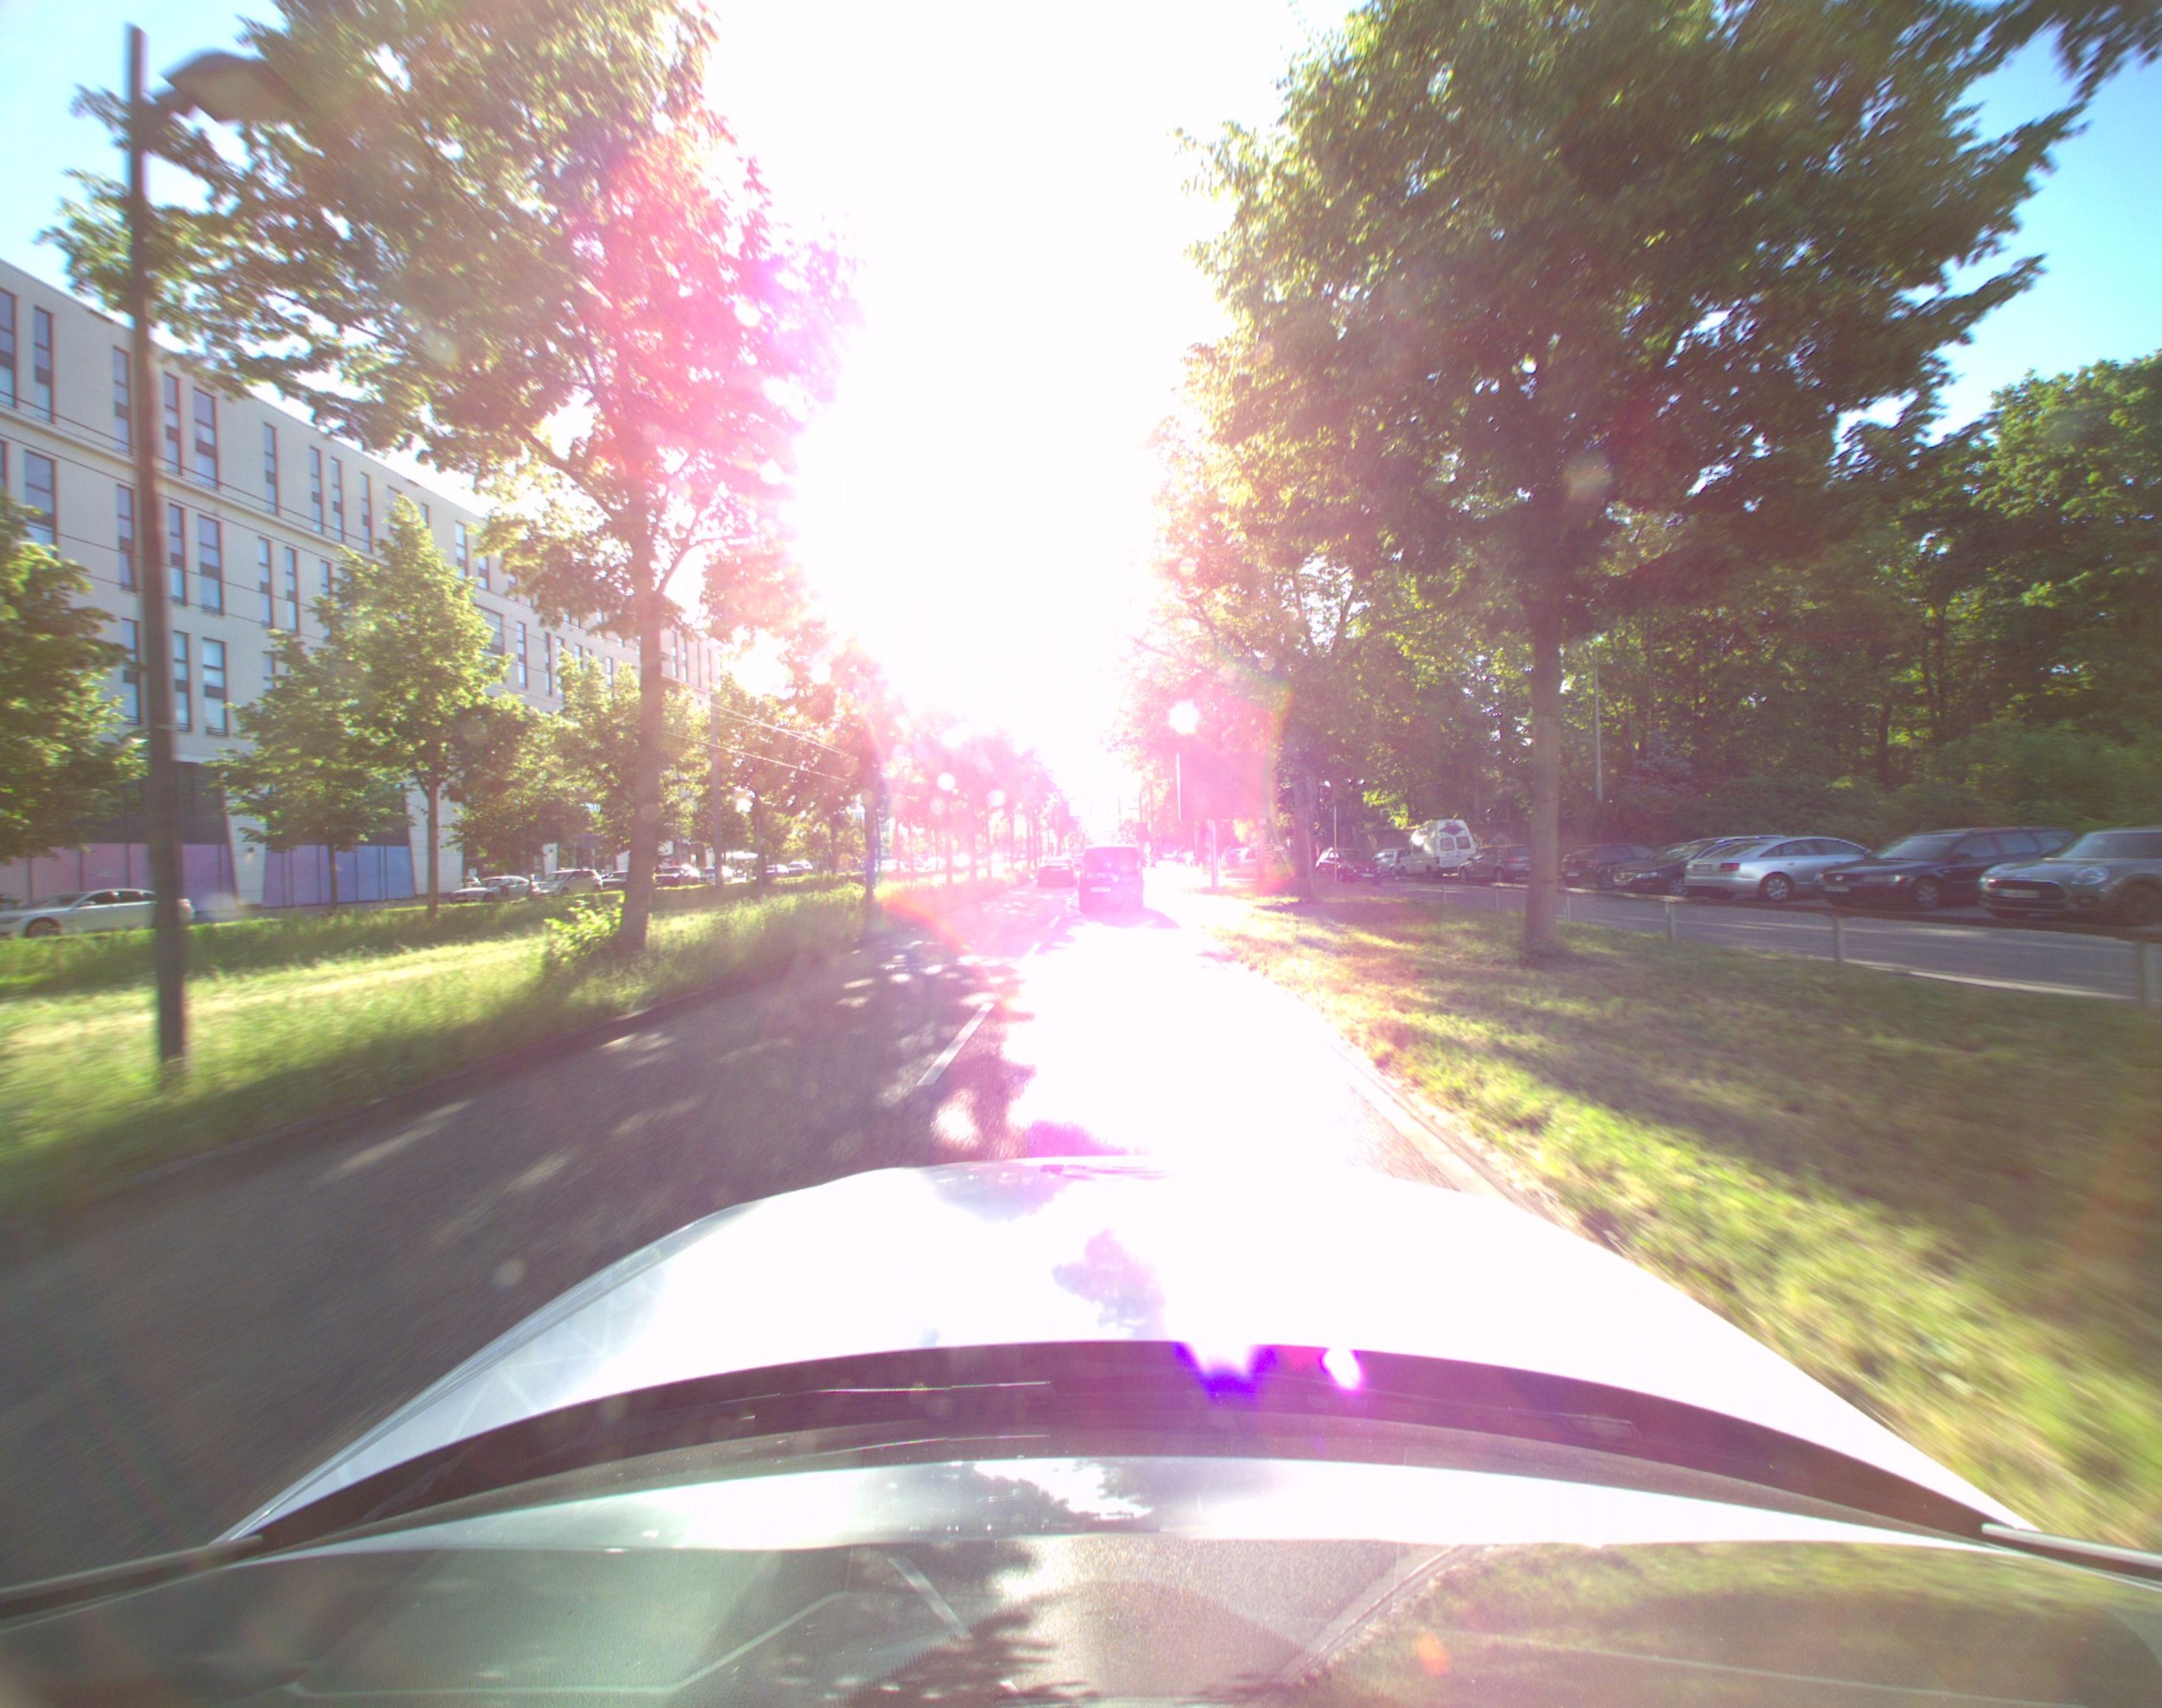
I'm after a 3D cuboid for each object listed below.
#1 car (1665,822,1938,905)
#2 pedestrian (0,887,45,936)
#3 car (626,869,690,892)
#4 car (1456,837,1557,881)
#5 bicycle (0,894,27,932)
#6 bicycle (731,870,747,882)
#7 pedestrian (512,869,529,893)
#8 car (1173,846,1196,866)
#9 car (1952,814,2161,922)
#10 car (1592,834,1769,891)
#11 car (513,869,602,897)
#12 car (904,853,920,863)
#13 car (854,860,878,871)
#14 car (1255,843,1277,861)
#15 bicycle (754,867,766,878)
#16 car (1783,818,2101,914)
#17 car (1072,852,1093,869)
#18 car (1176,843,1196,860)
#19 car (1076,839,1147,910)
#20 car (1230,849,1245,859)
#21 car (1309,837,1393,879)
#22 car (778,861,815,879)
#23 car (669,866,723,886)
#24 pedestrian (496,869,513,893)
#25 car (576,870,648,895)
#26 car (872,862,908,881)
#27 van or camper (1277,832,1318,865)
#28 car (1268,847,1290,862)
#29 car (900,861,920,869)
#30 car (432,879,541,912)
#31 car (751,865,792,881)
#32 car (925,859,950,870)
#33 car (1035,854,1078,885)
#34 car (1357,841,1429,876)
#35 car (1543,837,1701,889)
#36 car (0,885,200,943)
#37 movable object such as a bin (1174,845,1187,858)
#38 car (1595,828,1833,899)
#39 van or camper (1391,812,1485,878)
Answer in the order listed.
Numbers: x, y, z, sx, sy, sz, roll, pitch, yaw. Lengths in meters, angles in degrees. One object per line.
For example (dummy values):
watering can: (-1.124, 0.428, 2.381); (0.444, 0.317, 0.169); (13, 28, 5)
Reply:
car: (16.505, 0.211, 18.879); (4.361, 1.411, 2.002); (-6, 0, 4)
pedestrian: (-36.873, 1.994, 28.365); (0.633, 1.651, 0.720); (0, -1, -1)
car: (-29.710, 1.828, 57.384); (1.987, 1.441, 4.935); (0, 0, 0)
car: (16.898, 0.210, 32.569); (1.986, 1.574, 4.001); (-3, -1, 2)
bicycle: (-37.274, 2.025, 27.755); (0.596, 1.281, 1.608); (0, -1, 0)
bicycle: (-35.465, 2.262, 84.520); (0.731, 1.198, 2.241); (0, -1, 1)
pedestrian: (-38.671, 1.839, 56.201); (0.633, 1.651, 0.720); (0, -1, -1)
car: (8.632, 0.189, 68.276); (1.784, 1.560, 4.026); (2, 0, 5)
car: (16.690, 0.143, 12.781); (4.179, 1.498, 1.781); (-3, 0, -1)
car: (17.668, 0.255, 24.121); (3.973, 1.392, 1.620); (-3, -1, 0)
car: (-29.463, 1.618, 46.016); (1.986, 1.441, 4.457); (0, 0, 2)
car: (-32.586, 0.809, 157.001); (1.985, 2.014, 4.567); (0, 0, 3)
car: (-28.105, 1.502, 106.599); (1.872, 1.435, 4.612); (0, 0, 1)
car: (21.946, -0.229, 96.865); (2.076, 2.013, 4.952); (-1, 0, 7)
bicycle: (-35.299, 2.039, 89.548); (0.586, 1.252, 1.840); (0, -1, 2)
car: (16.736, 0.204, 15.987); (4.317, 1.478, 1.905); (-4, 1, -2)
car: (0.171, 0.604, 80.484); (1.986, 1.618, 4.002); (0, 0, 2)
car: (13.479, -0.295, 104.859); (2.180, 2.014, 5.825); (0, 0, 3)
car: (0.777, 0.555, 23.139); (1.803, 1.838, 3.998); (0, -1, -1)
car: (26.203, 0.003, 136.459); (1.985, 1.640, 4.003); (0, 0, 3)
car: (11.101, 0.171, 33.789); (1.990, 1.640, 3.994); (0, 0, -4)
car: (-28.441, 1.608, 81.568); (1.987, 1.772, 4.775); (0, 0, 0)
car: (-29.444, 1.638, 62.411); (1.987, 1.441, 4.455); (0, 0, 0)
pedestrian: (-39.493, 1.837, 55.776); (0.634, 1.651, 0.719); (0, -1, -6)
car: (-29.583, 1.783, 51.574); (1.987, 1.441, 4.455); (0, 0, 0)
car: (-17.509, 1.591, 74.906); (1.986, 1.686, 5.112); (0, 0, 2)
van or camper: (19.459, -0.520, 73.460); (2.543, 2.684, 6.577); (-4, 0, 7)
car: (20.240, 0.054, 83.423); (1.681, 1.472, 3.766); (-4, -1, 7)
car: (-27.172, 1.708, 129.697); (1.905, 1.325, 4.614); (0, 0, 3)
car: (-29.795, 2.037, 41.023); (1.987, 1.441, 4.778); (0, 0, 0)
car: (-28.514, 1.756, 75.155); (1.950, 1.441, 4.268); (0, 0, 2)
car: (-18.675, 1.338, 106.202); (1.984, 1.441, 4.708); (0, 0, 4)
car: (-1.148, 0.709, 39.524); (1.785, 1.428, 4.002); (0, 0, 2)
car: (16.703, 0.228, 43.811); (1.839, 1.617, 3.988); (-5, 0, -9)
car: (17.342, 0.270, 26.202); (3.979, 1.505, 1.763); (-2, 0, -4)
car: (-30.450, 1.728, 24.745); (1.987, 1.441, 4.924); (0, 0, 0)
movable object such as a bin: (16.363, -0.425, 133.697); (2.071, 2.014, 2.139); (0, -1, 6)
car: (16.766, 0.249, 21.783); (4.701, 1.406, 2.001); (-5, 0, 2)
van or camper: (16.665, -0.376, 38.347); (1.988, 2.731, 4.962); (-4, 0, -1)
